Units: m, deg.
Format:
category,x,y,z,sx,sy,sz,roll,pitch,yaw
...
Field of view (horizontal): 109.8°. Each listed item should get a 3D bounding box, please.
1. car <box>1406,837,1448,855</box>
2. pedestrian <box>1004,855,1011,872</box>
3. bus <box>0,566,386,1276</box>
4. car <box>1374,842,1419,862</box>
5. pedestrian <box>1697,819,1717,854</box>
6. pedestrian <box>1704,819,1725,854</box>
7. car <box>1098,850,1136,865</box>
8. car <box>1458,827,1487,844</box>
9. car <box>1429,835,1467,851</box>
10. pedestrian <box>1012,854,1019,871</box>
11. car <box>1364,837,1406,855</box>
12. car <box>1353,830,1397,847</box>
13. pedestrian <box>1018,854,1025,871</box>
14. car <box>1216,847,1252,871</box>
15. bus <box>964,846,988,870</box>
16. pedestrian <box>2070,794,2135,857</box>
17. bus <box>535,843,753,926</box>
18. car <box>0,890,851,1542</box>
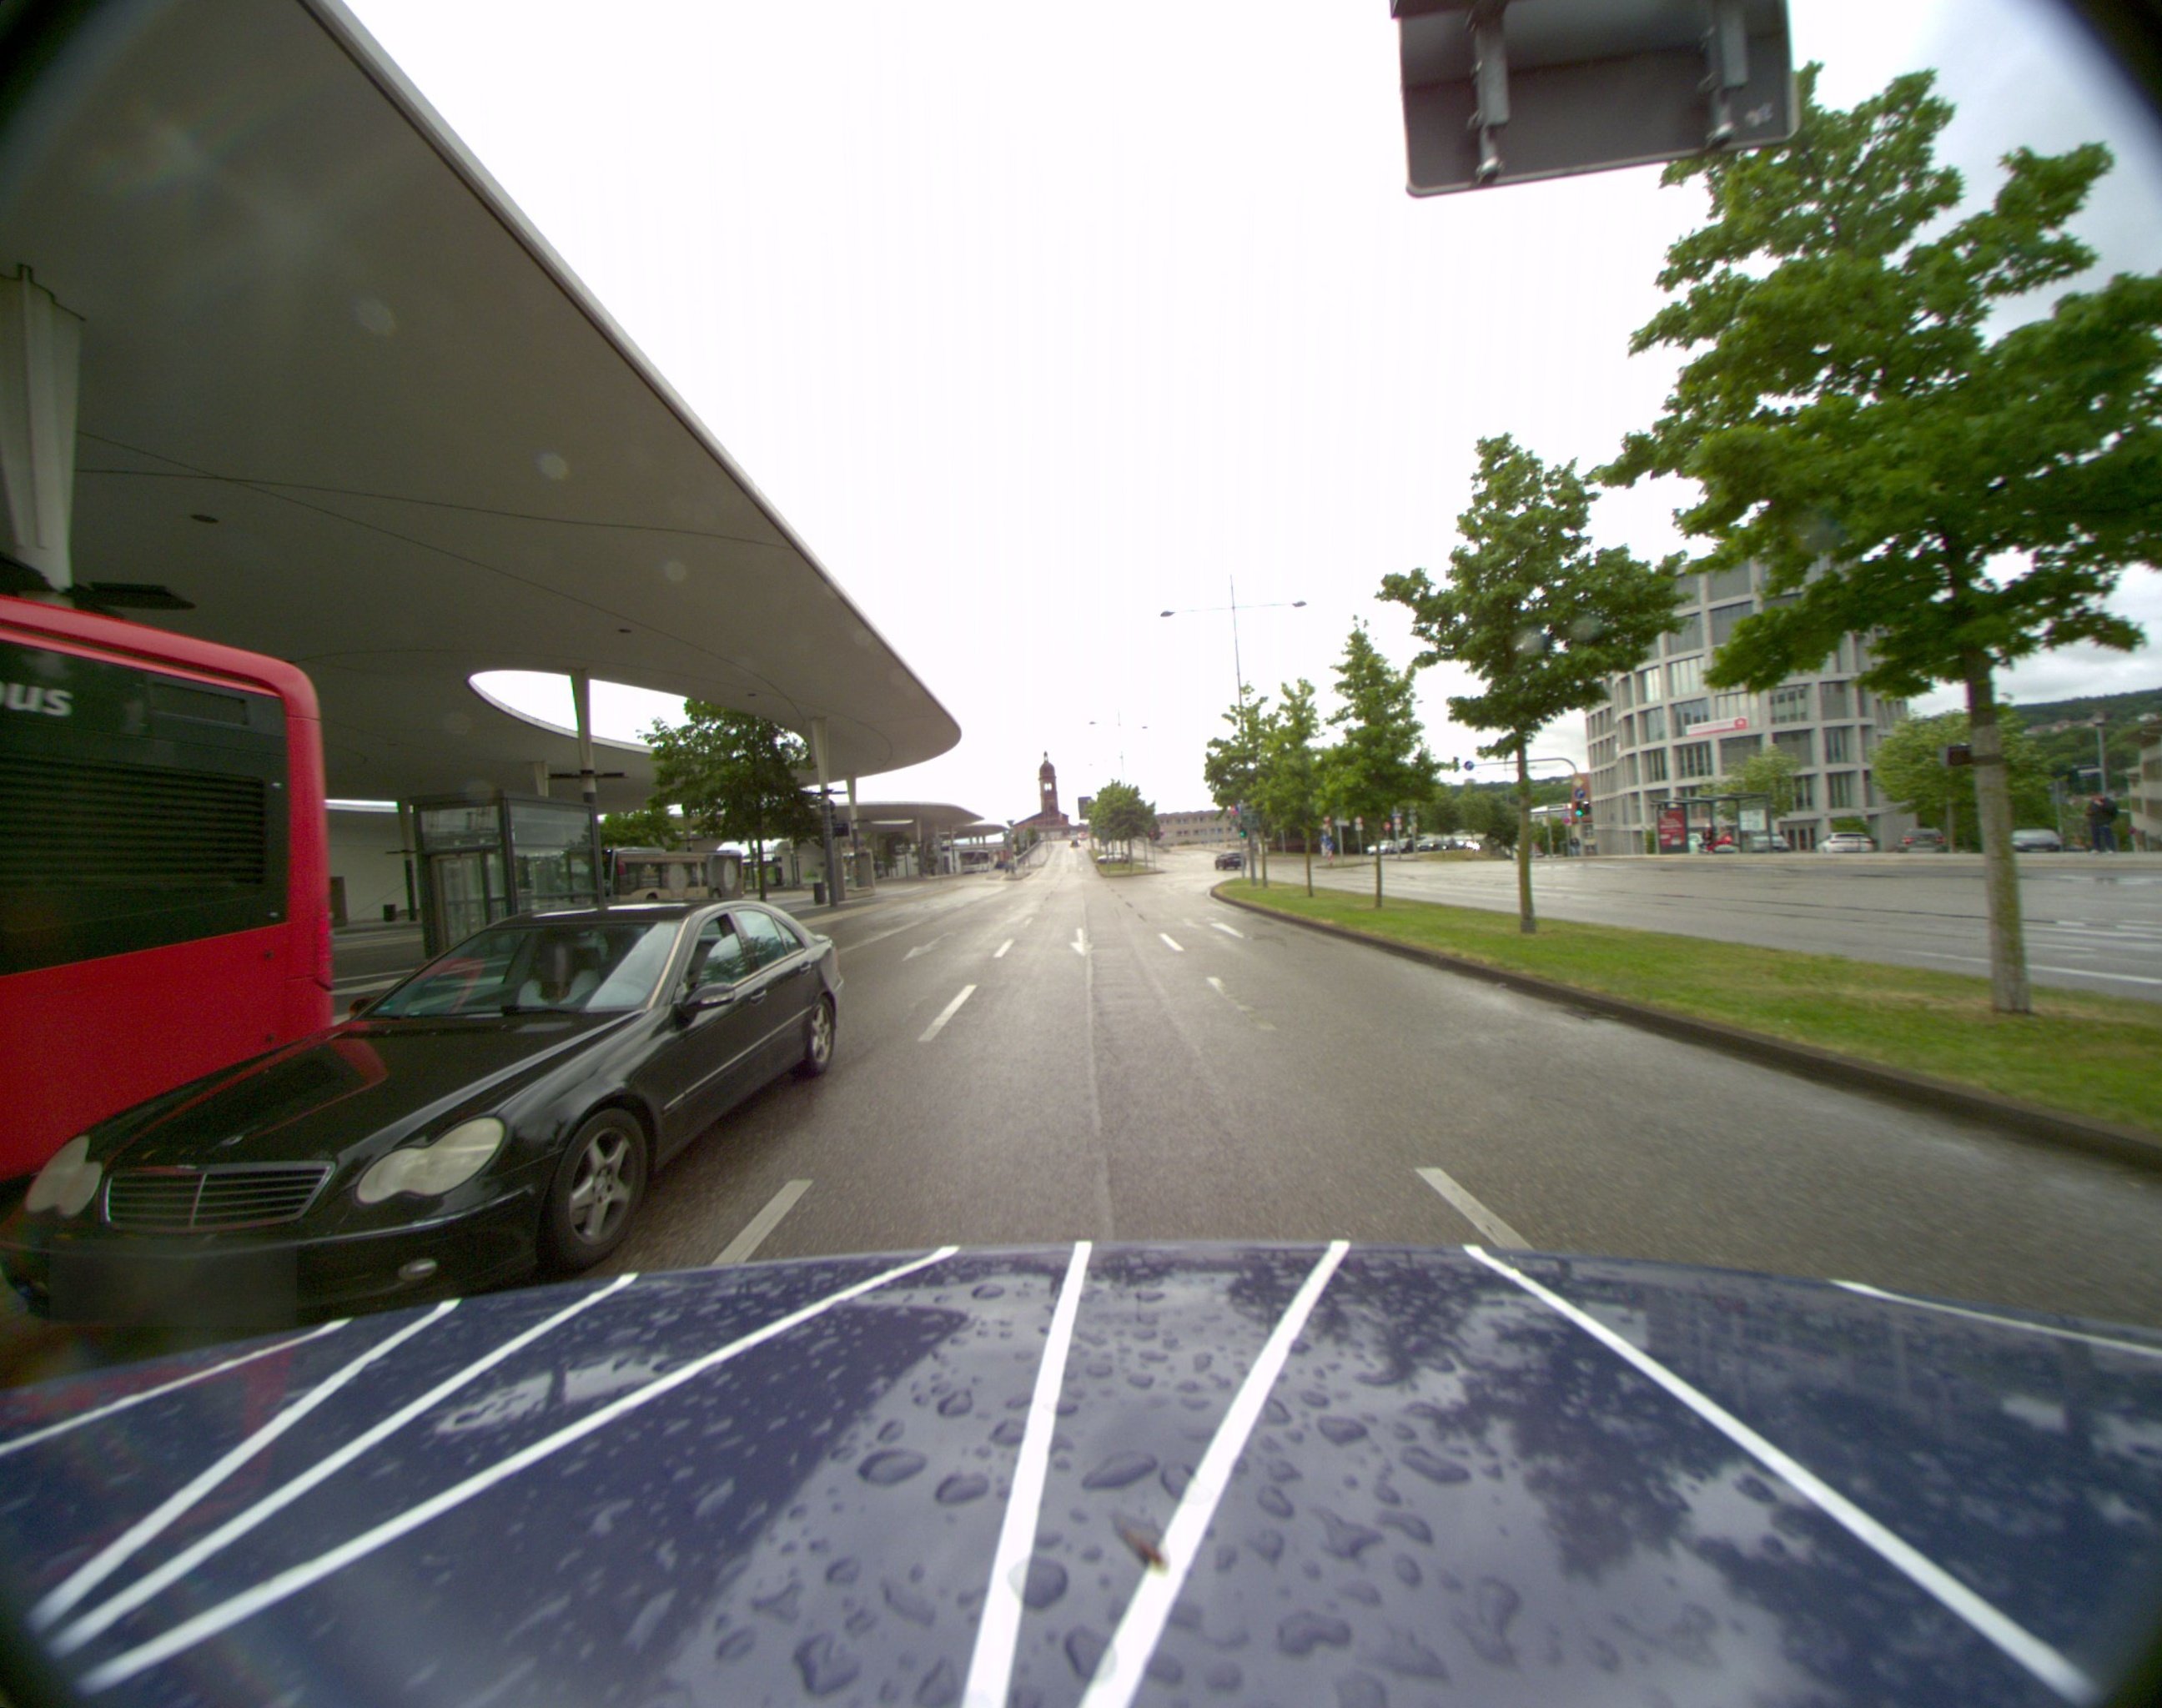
category,x,y,z,sx,sy,sz,roll,pitch,yaw
car,36.528,-0.880,80.153,4.926,1.702,2.190,-3,0,-43
pedestrian,-7.136,0.899,74.026,0.576,1.614,0.588,-3,1,0
bus,-6.204,0.335,1.097,2.750,3.155,8.120,-2,0,1
car,31.384,-0.213,75.528,4.926,1.702,2.190,-3,0,-43
pedestrian,29.359,-0.819,35.625,0.504,1.625,0.502,-2,1,0
pedestrian,29.908,-0.841,35.860,0.520,1.625,0.536,-2,1,0
car,3.959,0.399,83.103,3.726,1.450,1.631,-2,0,30
car,47.085,-2.204,91.324,1.994,2.001,4.008,-2,-1,44
car,41.975,-1.251,86.781,4.926,1.702,2.190,-3,0,-43
pedestrian,-6.437,0.835,74.128,0.557,1.614,0.552,-3,1,0
car,32.020,-0.852,79.944,4.926,1.702,2.190,-3,0,-43
car,39.299,-2.040,101.625,2.315,2.002,5.021,-3,0,-41
pedestrian,-5.834,0.814,74.007,0.557,1.614,0.552,-3,1,0
car,11.968,0.398,59.723,1.998,1.765,4.000,-3,0,1
bus,-14.667,0.542,106.742,2.675,3.111,9.712,-3,0,-5
pedestrian,29.237,-0.809,21.756,0.787,1.750,0.972,-3,1,-28
bus,-19.935,1.184,36.207,3.003,3.088,12.354,-4,0,0
car,-2.827,1.088,4.232,1.750,1.471,4.434,-3,0,-1
